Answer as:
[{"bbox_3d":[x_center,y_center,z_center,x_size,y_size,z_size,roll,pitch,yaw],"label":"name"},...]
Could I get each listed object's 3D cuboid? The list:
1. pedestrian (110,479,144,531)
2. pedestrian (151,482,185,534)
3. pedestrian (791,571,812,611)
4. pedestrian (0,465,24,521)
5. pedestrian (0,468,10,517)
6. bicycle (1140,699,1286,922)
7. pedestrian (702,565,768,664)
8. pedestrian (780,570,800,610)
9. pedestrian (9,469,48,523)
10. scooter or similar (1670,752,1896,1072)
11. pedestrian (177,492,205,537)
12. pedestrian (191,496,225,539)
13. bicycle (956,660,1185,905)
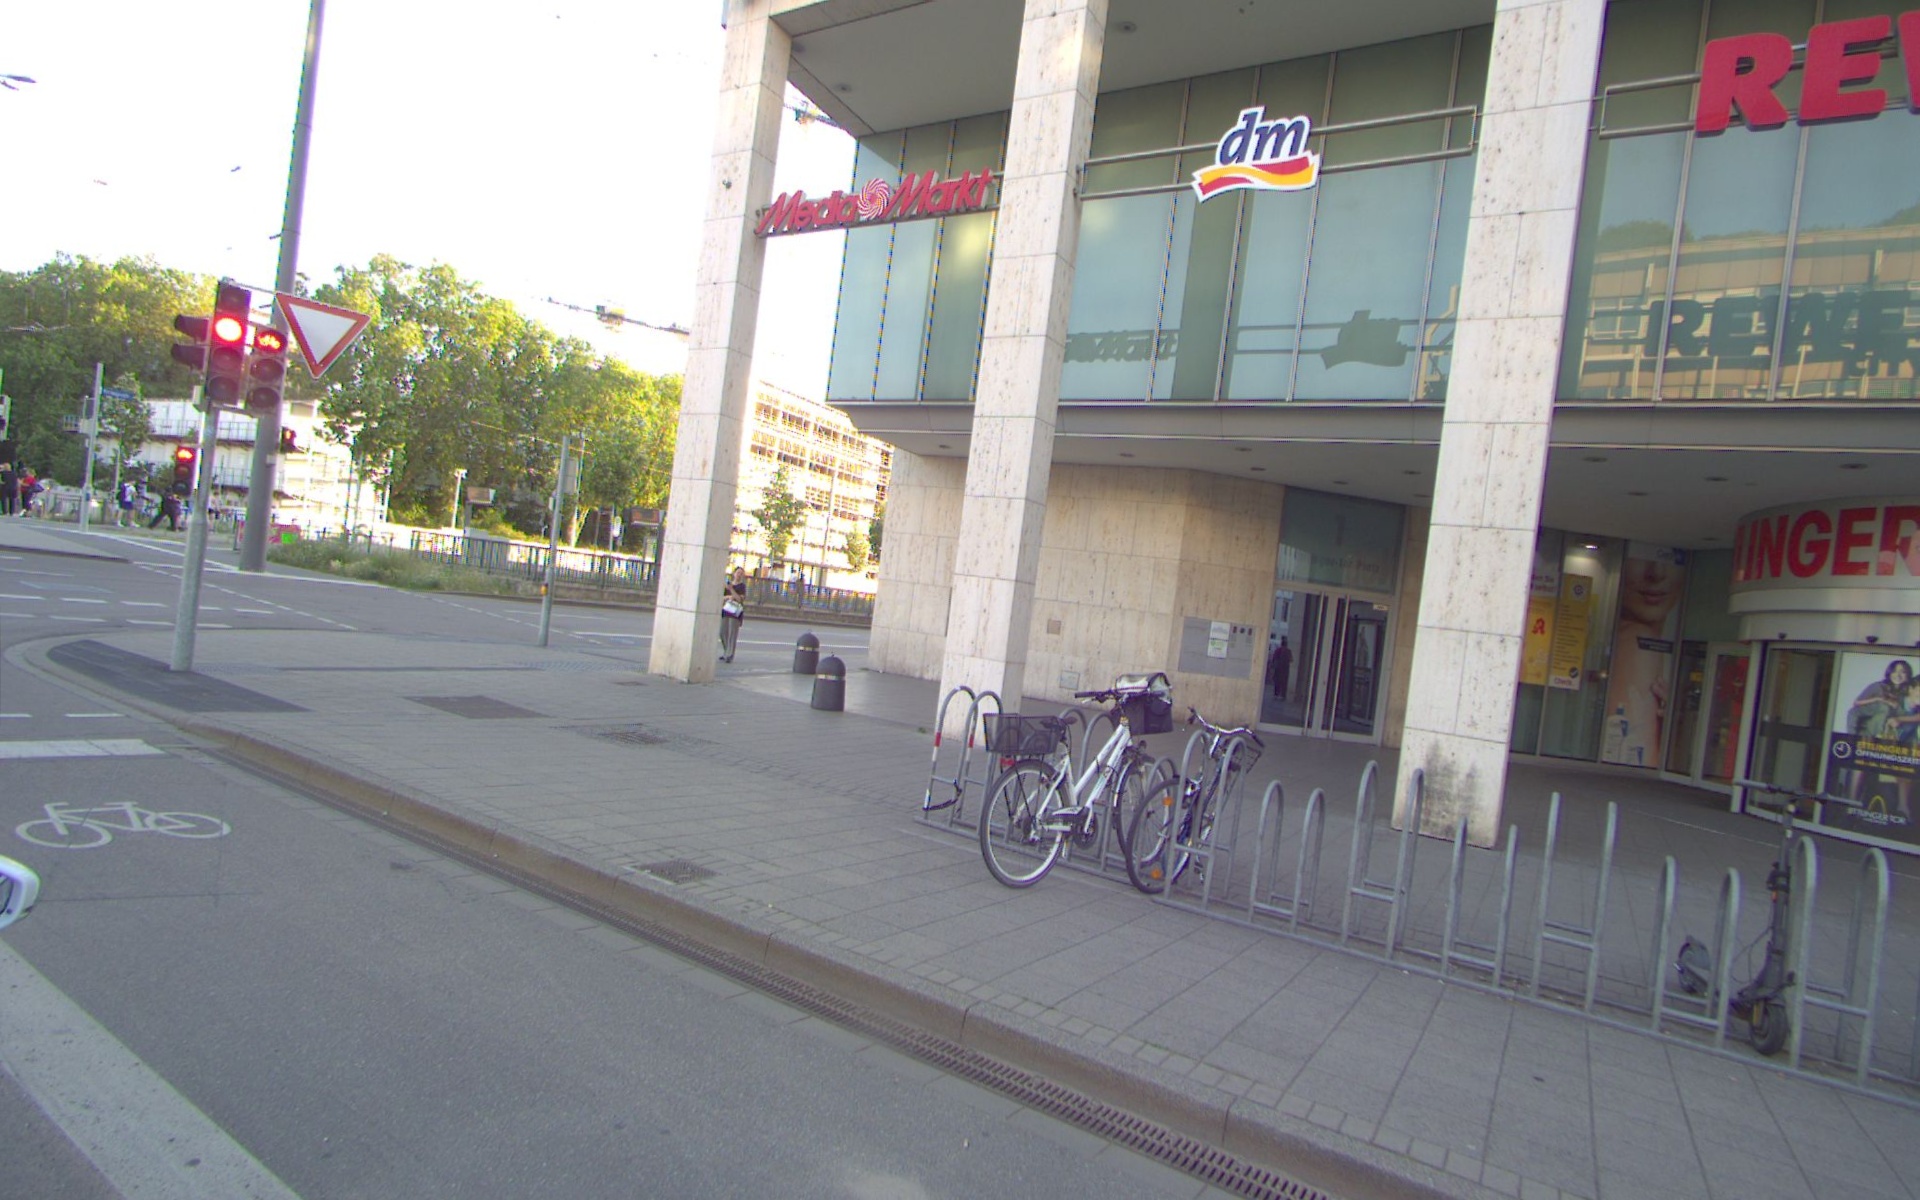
[{"bbox_3d":[-29.738,-3.397,35.913,0.703,1.746,0.665,8,1,41],"label":"pedestrian"},{"bbox_3d":[-28.678,-3.333,36.443,0.702,1.746,0.666,8,1,37],"label":"pedestrian"},{"bbox_3d":[-8.353,-0.483,53.129,0.631,2.039,0.626,8,1,28],"label":"pedestrian"},{"bbox_3d":[-32.818,-3.684,34.569,0.790,1.814,0.803,8,1,44],"label":"pedestrian"},{"bbox_3d":[-33.982,-3.817,35.463,0.570,1.699,0.631,7,1,-44],"label":"pedestrian"},{"bbox_3d":[1.656,1.239,6.391,0.474,1.092,1.773,8,0,24],"label":"bicycle"},{"bbox_3d":[-4.055,0.261,18.201,0.778,1.659,0.708,7,1,9],"label":"pedestrian"},{"bbox_3d":[-9.049,-0.525,53.534,0.559,2.039,0.575,8,1,28],"label":"pedestrian"},{"bbox_3d":[-32.780,-3.648,35.412,0.696,1.756,0.843,8,1,44],"label":"pedestrian"},{"bbox_3d":[3.985,1.439,4.961,0.484,1.214,1.196,8,1,27],"label":"scooter or similar"},{"bbox_3d":[-29.455,-3.258,38.519,0.527,1.612,0.571,8,1,32],"label":"pedestrian"},{"bbox_3d":[-28.321,-3.107,37.882,0.667,1.459,0.712,8,1,33],"label":"pedestrian"},{"bbox_3d":[0.699,1.007,5.930,0.540,1.198,1.479,8,1,36],"label":"bicycle"}]
